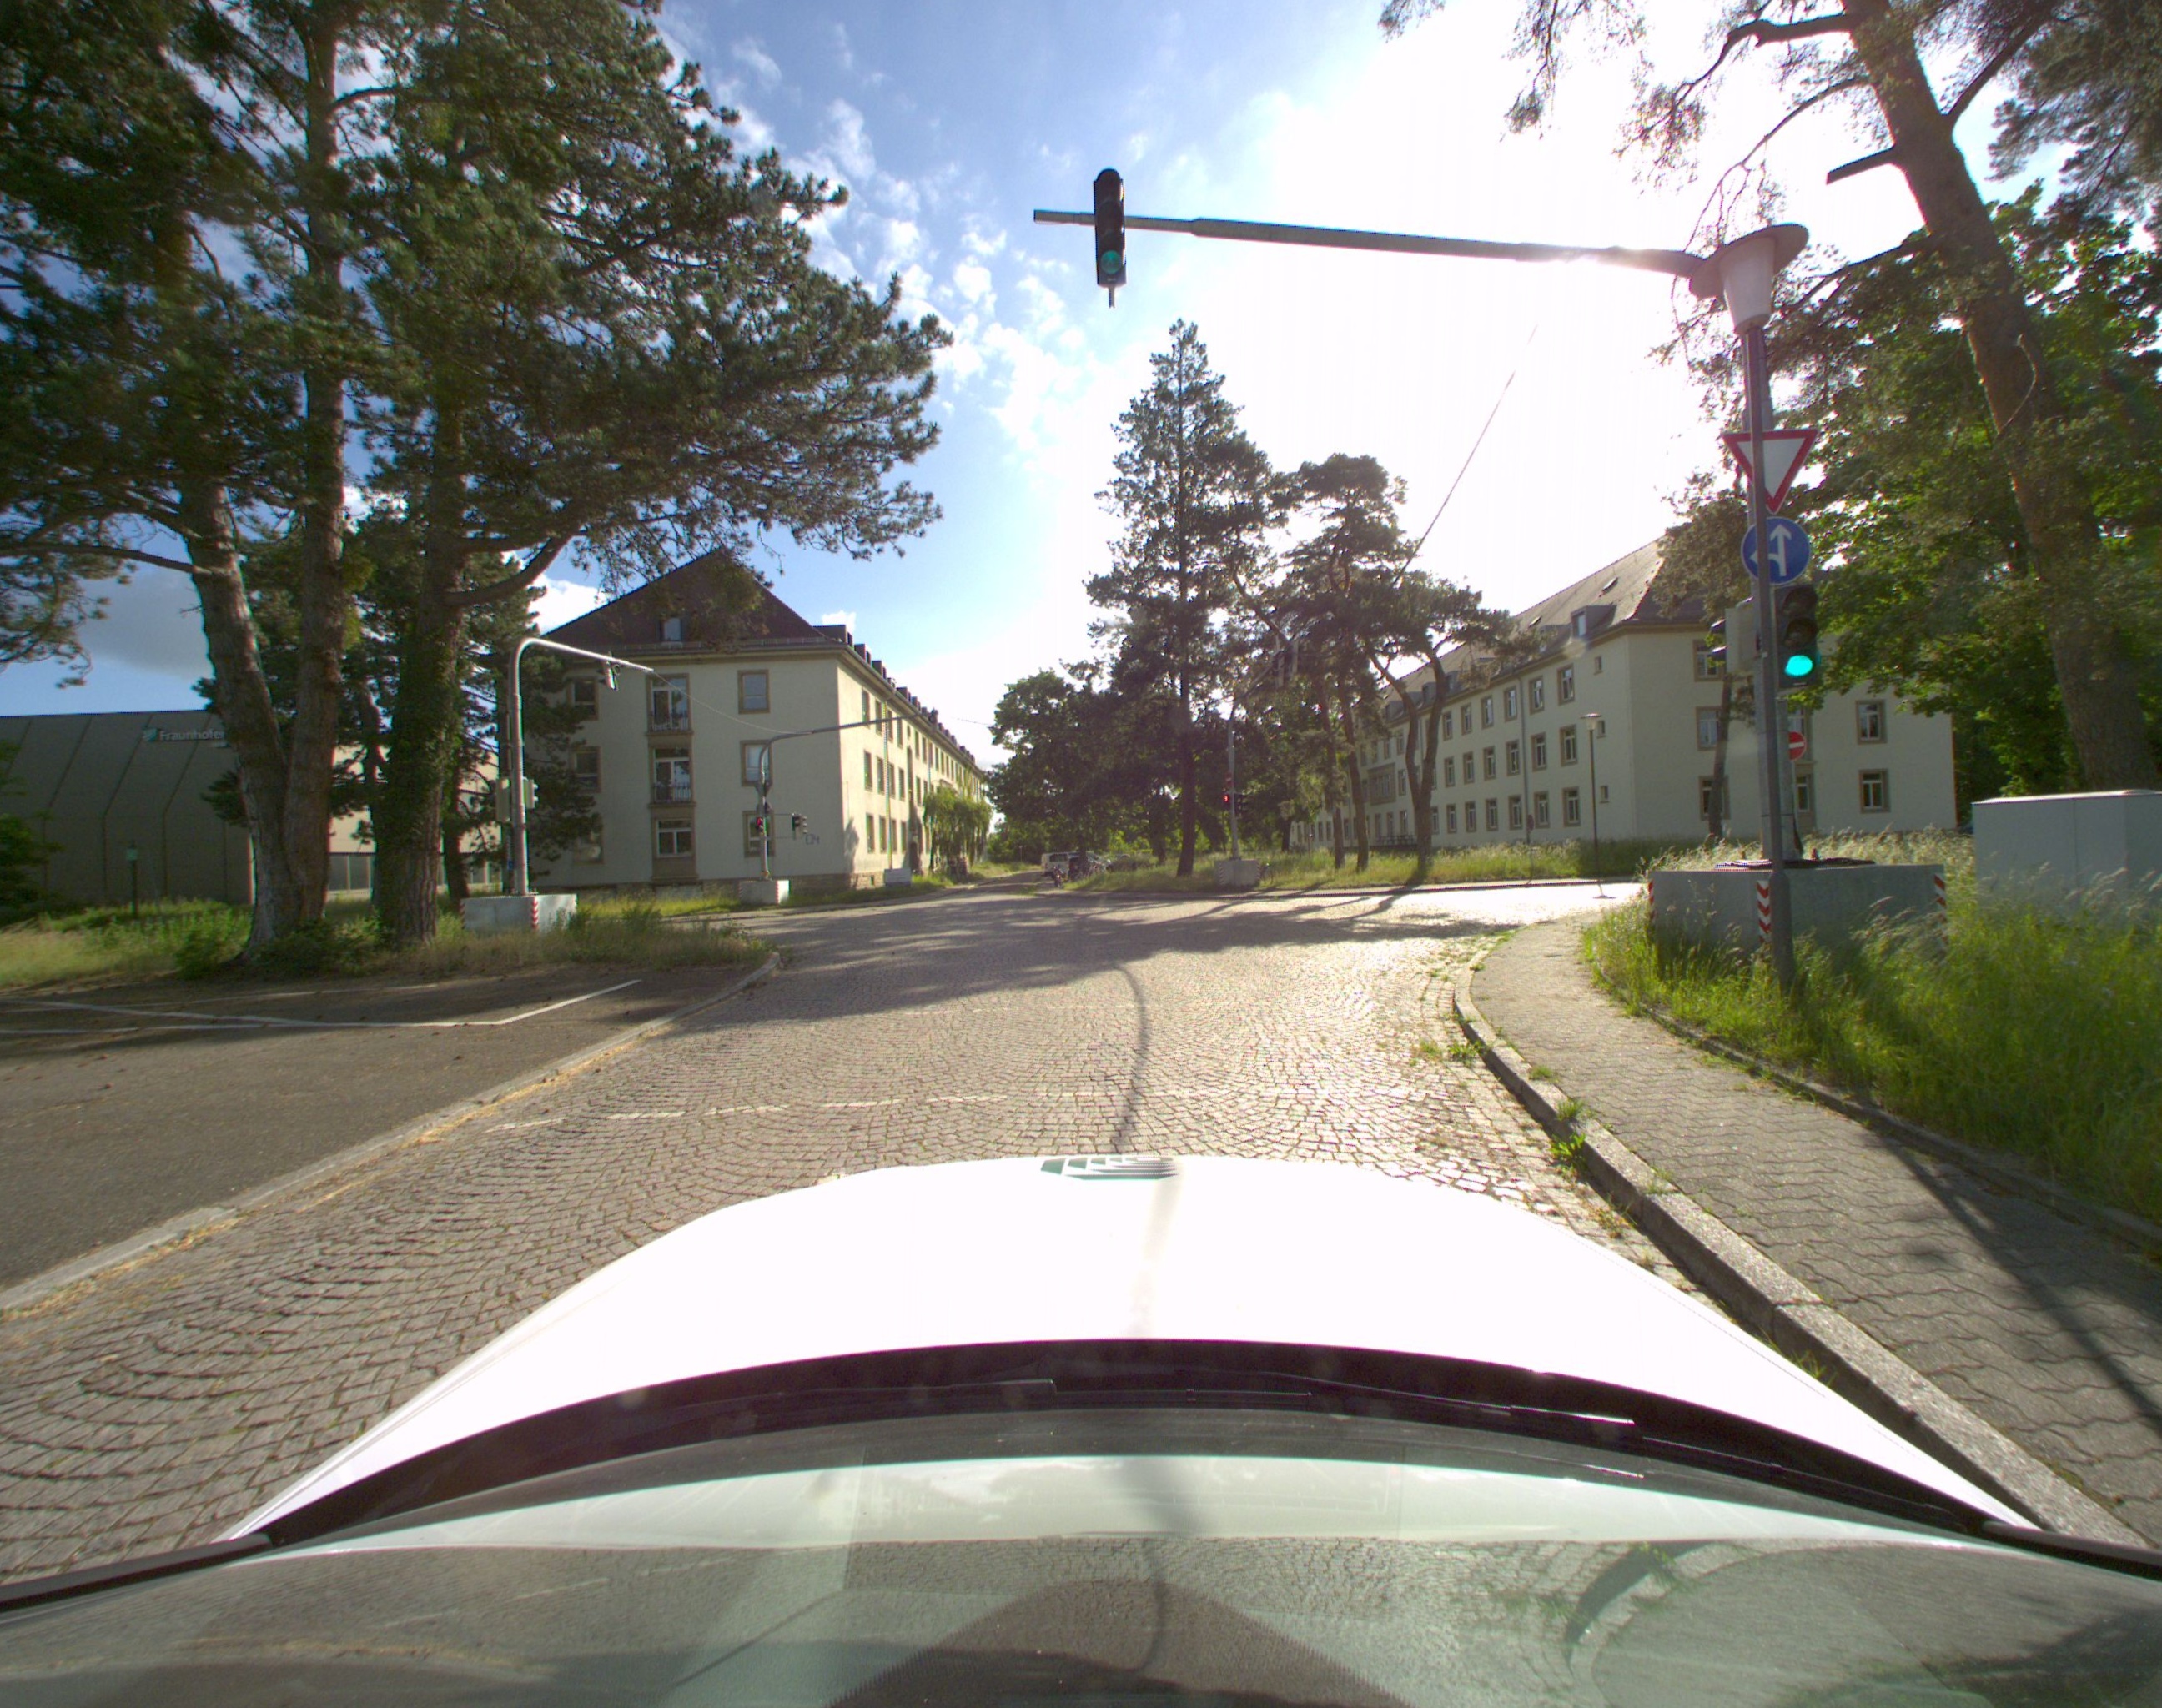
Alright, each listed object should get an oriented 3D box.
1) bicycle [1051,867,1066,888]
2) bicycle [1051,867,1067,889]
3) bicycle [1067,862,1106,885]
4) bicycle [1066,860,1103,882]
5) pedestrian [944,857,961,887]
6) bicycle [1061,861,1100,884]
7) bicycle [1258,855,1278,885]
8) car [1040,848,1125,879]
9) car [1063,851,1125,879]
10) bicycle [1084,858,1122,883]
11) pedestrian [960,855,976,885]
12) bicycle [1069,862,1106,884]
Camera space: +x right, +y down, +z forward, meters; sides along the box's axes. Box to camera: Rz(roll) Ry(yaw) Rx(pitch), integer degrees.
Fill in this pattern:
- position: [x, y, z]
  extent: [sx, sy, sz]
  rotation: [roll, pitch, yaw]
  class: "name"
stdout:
- position: [-1.119, 1.121, 39.990]
  extent: [0.694, 0.971, 1.859]
  rotation: [-2, 0, -3]
  class: "bicycle"
- position: [-1.040, 1.117, 38.059]
  extent: [0.694, 0.971, 1.859]
  rotation: [-2, 0, -3]
  class: "bicycle"
- position: [0.292, 1.012, 42.360]
  extent: [1.937, 1.129, 0.749]
  rotation: [-2, 0, -4]
  class: "bicycle"
- position: [0.171, 0.937, 44.669]
  extent: [1.938, 1.129, 0.646]
  rotation: [-2, 0, -6]
  class: "bicycle"
- position: [-7.957, 1.101, 50.474]
  extent: [0.807, 1.817, 0.556]
  rotation: [-2, 0, 10]
  class: "pedestrian"
- position: [-0.029, 0.984, 43.570]
  extent: [1.952, 1.129, 0.642]
  rotation: [-2, 0, -28]
  class: "bicycle"
- position: [6.770, 0.575, 29.571]
  extent: [0.464, 1.080, 1.174]
  rotation: [-2, -1, 3]
  class: "bicycle"
- position: [0.058, 0.672, 59.507]
  extent: [5.927, 2.013, 2.469]
  rotation: [-2, 0, -8]
  class: "car"
- position: [0.862, 0.736, 55.314]
  extent: [3.986, 1.684, 1.842]
  rotation: [-2, 0, -9]
  class: "car"
- position: [1.176, 0.868, 43.081]
  extent: [1.937, 1.235, 0.484]
  rotation: [-2, 0, -4]
  class: "bicycle"
- position: [-7.088, 0.987, 50.985]
  extent: [0.762, 1.817, 0.684]
  rotation: [-2, 0, 10]
  class: "pedestrian"
- position: [0.329, 0.964, 41.566]
  extent: [1.851, 1.031, 0.749]
  rotation: [-2, 0, -4]
  class: "bicycle"
